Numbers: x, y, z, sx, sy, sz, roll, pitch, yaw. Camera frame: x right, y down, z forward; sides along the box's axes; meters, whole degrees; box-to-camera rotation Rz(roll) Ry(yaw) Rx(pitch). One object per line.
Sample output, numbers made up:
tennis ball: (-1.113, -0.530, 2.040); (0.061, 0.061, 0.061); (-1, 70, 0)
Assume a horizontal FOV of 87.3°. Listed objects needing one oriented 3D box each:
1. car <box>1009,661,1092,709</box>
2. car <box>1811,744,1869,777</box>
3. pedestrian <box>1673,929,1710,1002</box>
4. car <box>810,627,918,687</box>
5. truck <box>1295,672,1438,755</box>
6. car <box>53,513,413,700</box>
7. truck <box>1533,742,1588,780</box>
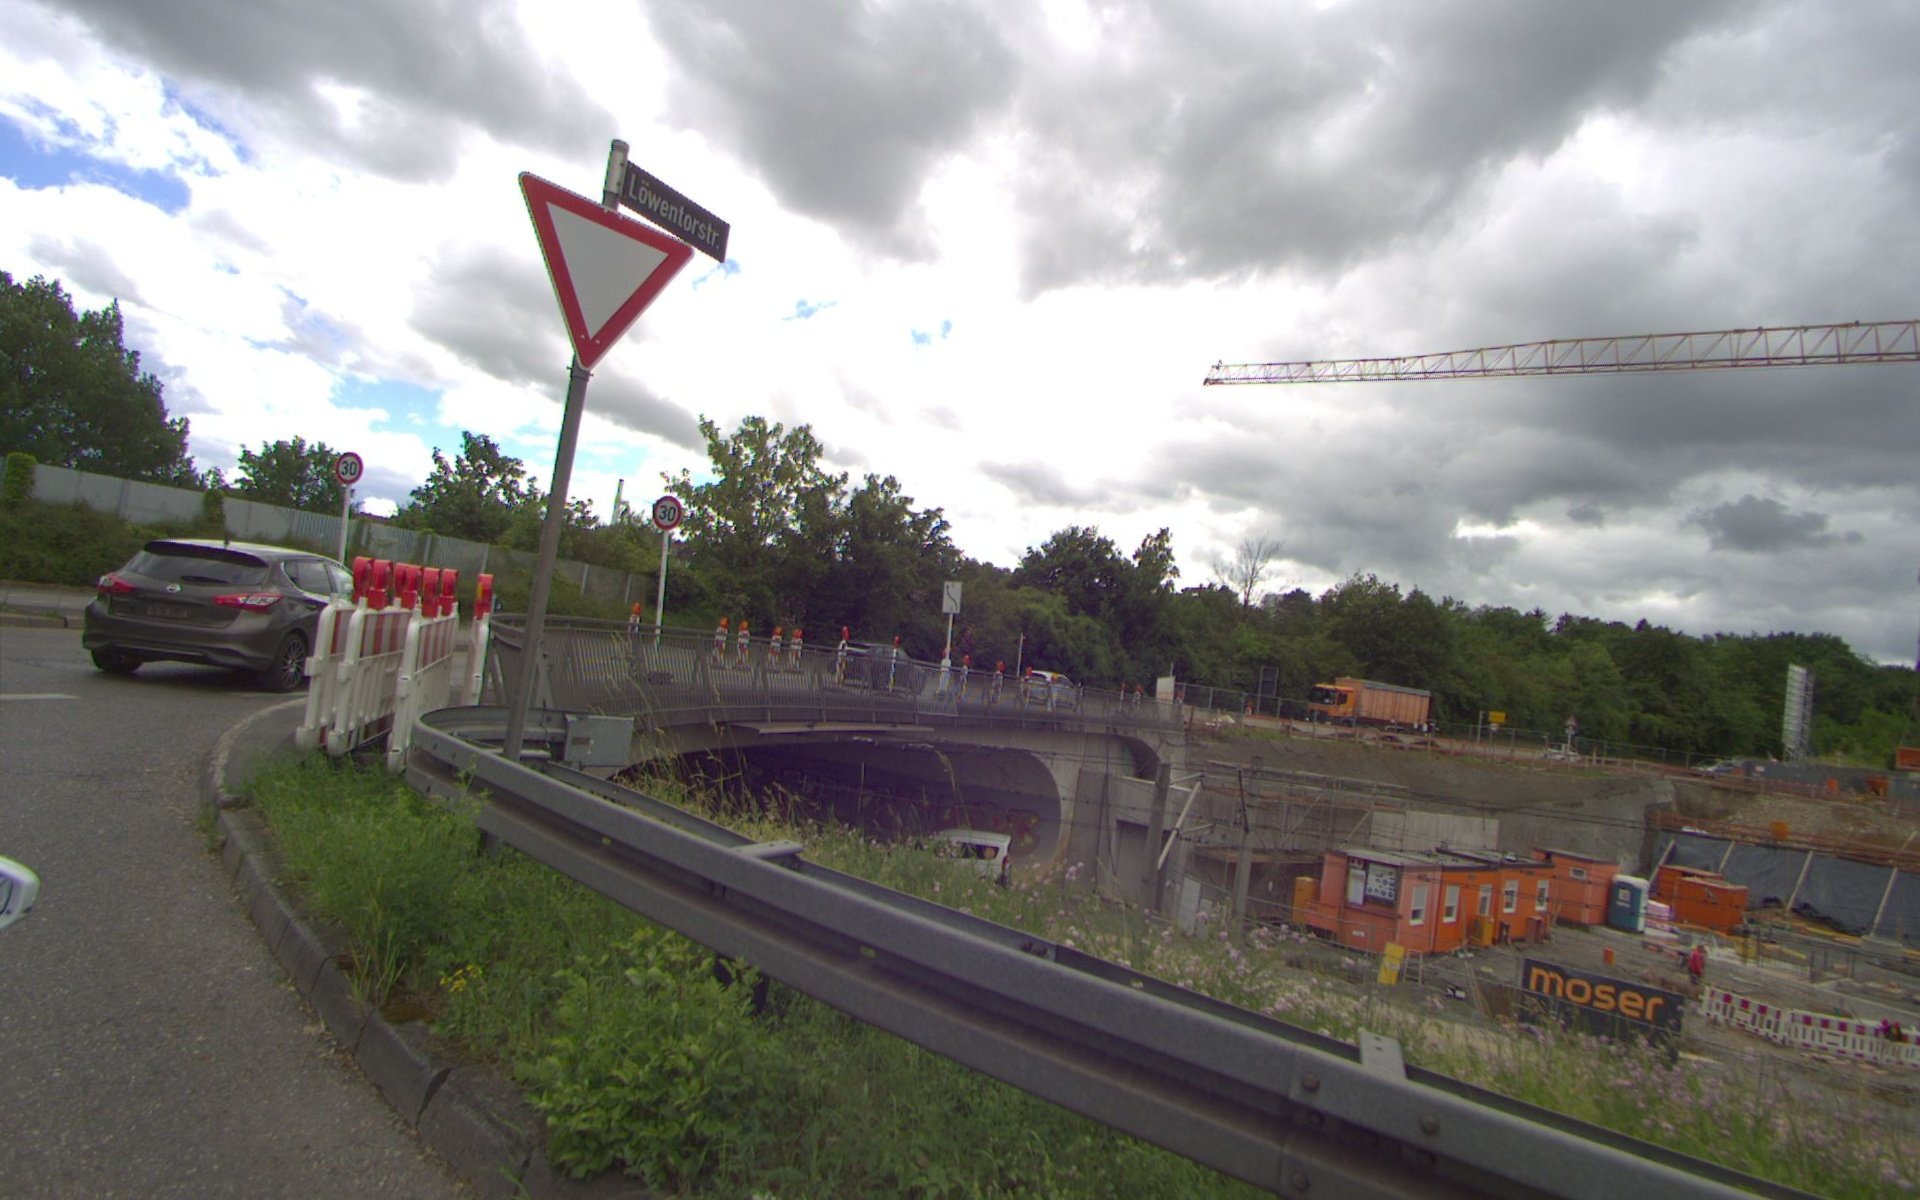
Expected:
car: (4.216, 3.959, 46.344); (1.693, 1.692, 3.990); (4, -6, 40)
car: (72.130, 13.148, 82.452); (3.949, 2.034, 1.992); (10, -5, -22)
pedestrian: (23.117, 11.527, 31.785); (0.695, 2.031, 0.801); (4, -9, 46)
car: (-3.109, 1.923, 33.227); (1.792, 1.569, 3.792); (7, -3, 23)
truck: (27.388, 7.648, 67.643); (9.688, 4.266, 3.100); (10, -3, -28)
car: (-8.060, 0.118, 11.689); (1.775, 1.569, 3.994); (8, -3, -12)
truck: (42.557, 11.405, 71.305); (3.195, 2.033, 1.730); (13, -5, -27)
